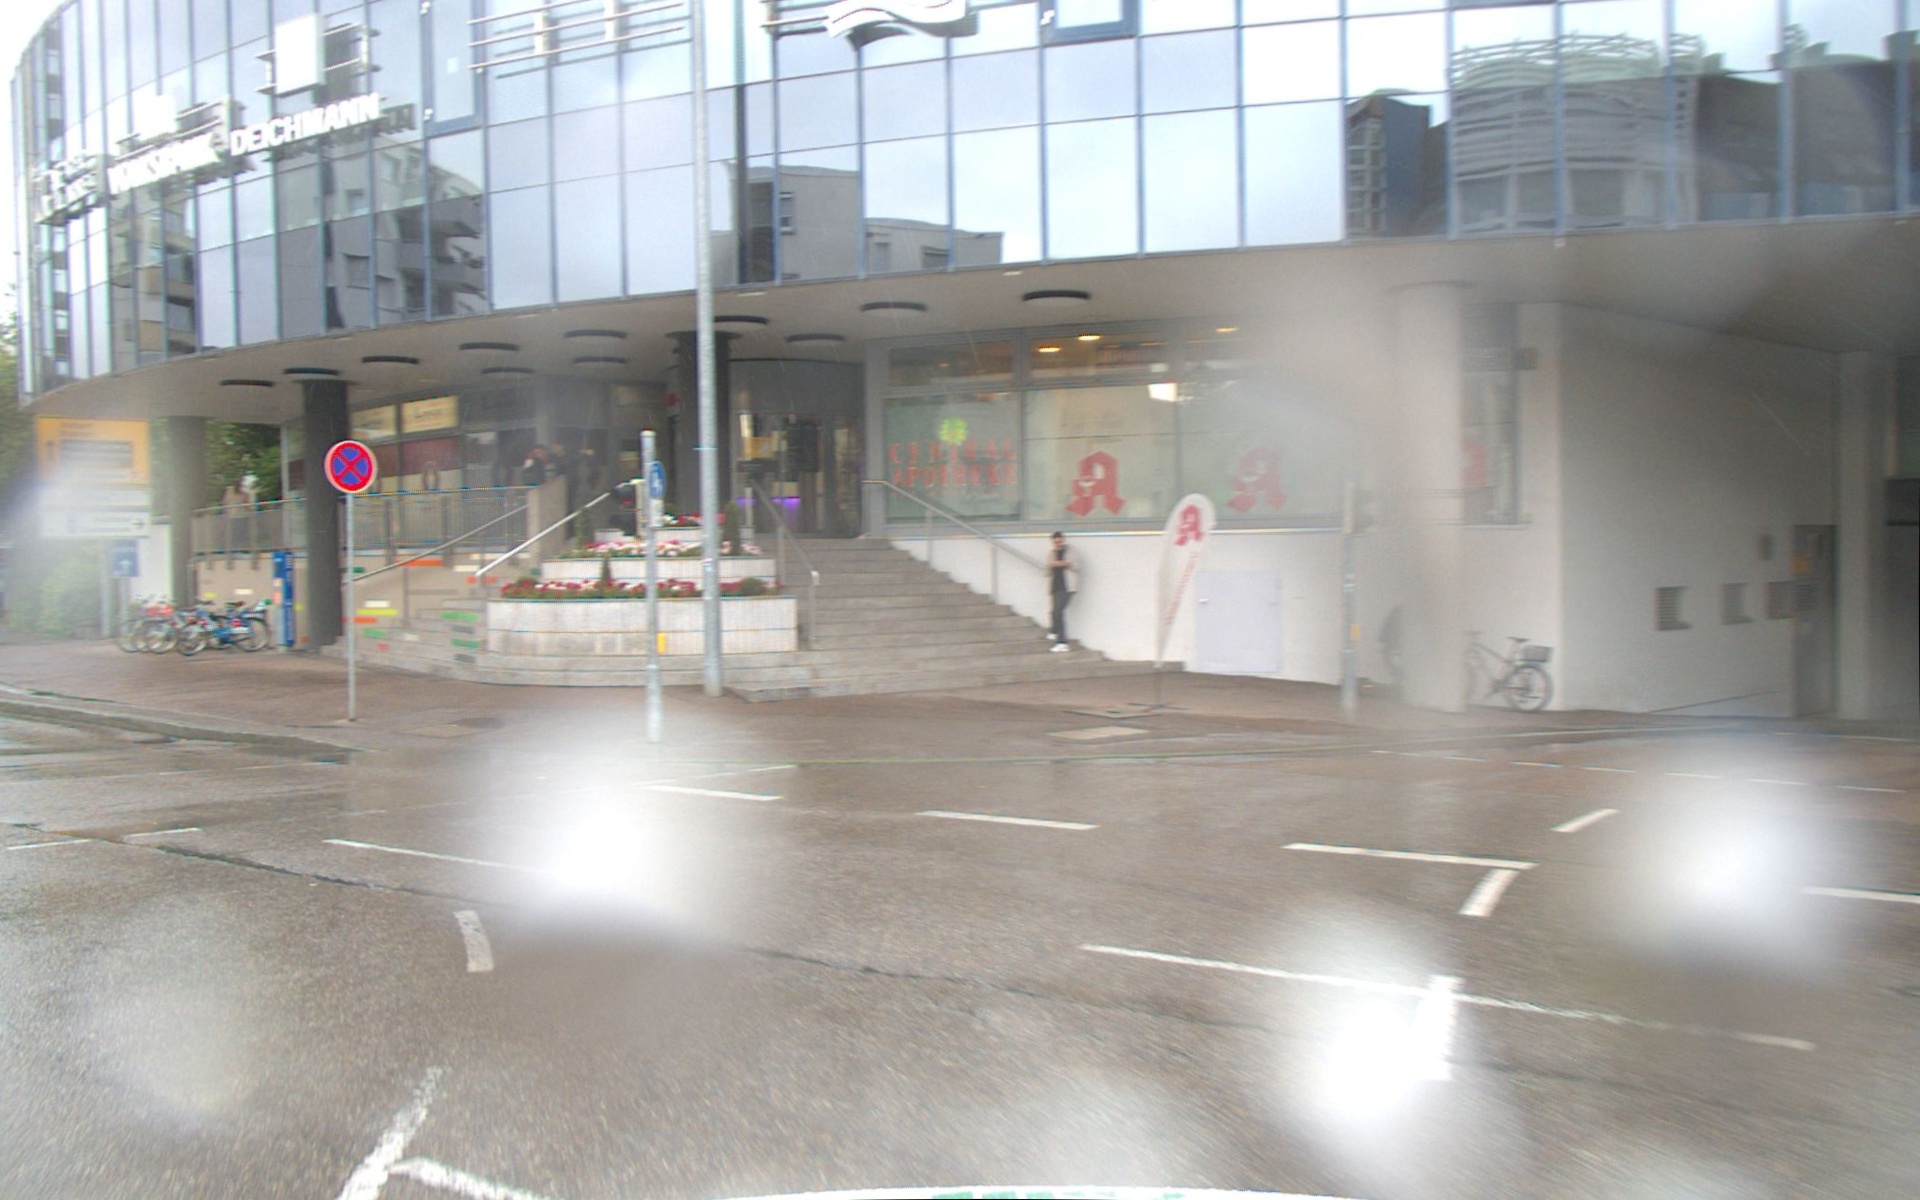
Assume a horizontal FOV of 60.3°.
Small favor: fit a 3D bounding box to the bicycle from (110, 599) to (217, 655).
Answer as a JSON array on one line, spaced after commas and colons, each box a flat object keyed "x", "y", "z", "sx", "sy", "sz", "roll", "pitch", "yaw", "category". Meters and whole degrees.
[{"x": -16.137, "y": 0.536, "z": 33.541, "sx": 1.837, "sy": 0.967, "sz": 0.529, "roll": -5, "pitch": 4, "yaw": -39, "category": "bicycle"}]

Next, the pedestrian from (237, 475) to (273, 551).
[{"x": -16.355, "y": -2.011, "z": 38.370, "sx": 0.647, "sy": 1.743, "sz": 0.592, "roll": 0, "pitch": 2, "yaw": -36, "category": "pedestrian"}]

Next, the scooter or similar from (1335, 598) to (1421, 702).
[{"x": 5.881, "y": 0.691, "z": 23.257, "sx": 1.141, "sy": 1.396, "sz": 0.489, "roll": 1, "pitch": 1, "yaw": 16, "category": "scooter or similar"}]

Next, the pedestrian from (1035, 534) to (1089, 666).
[{"x": 1.521, "y": -0.010, "z": 24.622, "sx": 0.642, "sy": 1.941, "sz": 0.595, "roll": 1, "pitch": 1, "yaw": 22, "category": "pedestrian"}]

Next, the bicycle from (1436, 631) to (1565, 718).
[{"x": 7.471, "y": 1.023, "z": 22.890, "sx": 1.550, "sy": 1.035, "sz": 0.452, "roll": 5, "pitch": 2, "yaw": 0, "category": "bicycle"}]

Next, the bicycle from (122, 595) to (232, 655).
[{"x": -15.627, "y": 0.487, "z": 33.048, "sx": 1.839, "sy": 1.051, "sz": 0.619, "roll": -5, "pitch": 3, "yaw": -42, "category": "bicycle"}]

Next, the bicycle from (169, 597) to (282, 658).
[{"x": -13.915, "y": 0.506, "z": 31.363, "sx": 1.839, "sy": 1.041, "sz": 0.622, "roll": -4, "pitch": 2, "yaw": -42, "category": "bicycle"}]

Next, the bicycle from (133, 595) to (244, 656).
[{"x": -15.159, "y": 0.492, "z": 32.528, "sx": 1.839, "sy": 1.060, "sz": 0.638, "roll": -5, "pitch": 3, "yaw": -42, "category": "bicycle"}]

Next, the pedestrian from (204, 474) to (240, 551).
[{"x": -16.962, "y": -2.010, "z": 38.014, "sx": 0.647, "sy": 1.743, "sz": 0.592, "roll": 0, "pitch": 2, "yaw": -36, "category": "pedestrian"}]

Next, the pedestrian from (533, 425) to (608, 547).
[{"x": -6.727, "y": -1.946, "z": 28.584, "sx": 0.816, "sy": 2.048, "sz": 0.948, "roll": 2, "pitch": 2, "yaw": 37, "category": "pedestrian"}]
